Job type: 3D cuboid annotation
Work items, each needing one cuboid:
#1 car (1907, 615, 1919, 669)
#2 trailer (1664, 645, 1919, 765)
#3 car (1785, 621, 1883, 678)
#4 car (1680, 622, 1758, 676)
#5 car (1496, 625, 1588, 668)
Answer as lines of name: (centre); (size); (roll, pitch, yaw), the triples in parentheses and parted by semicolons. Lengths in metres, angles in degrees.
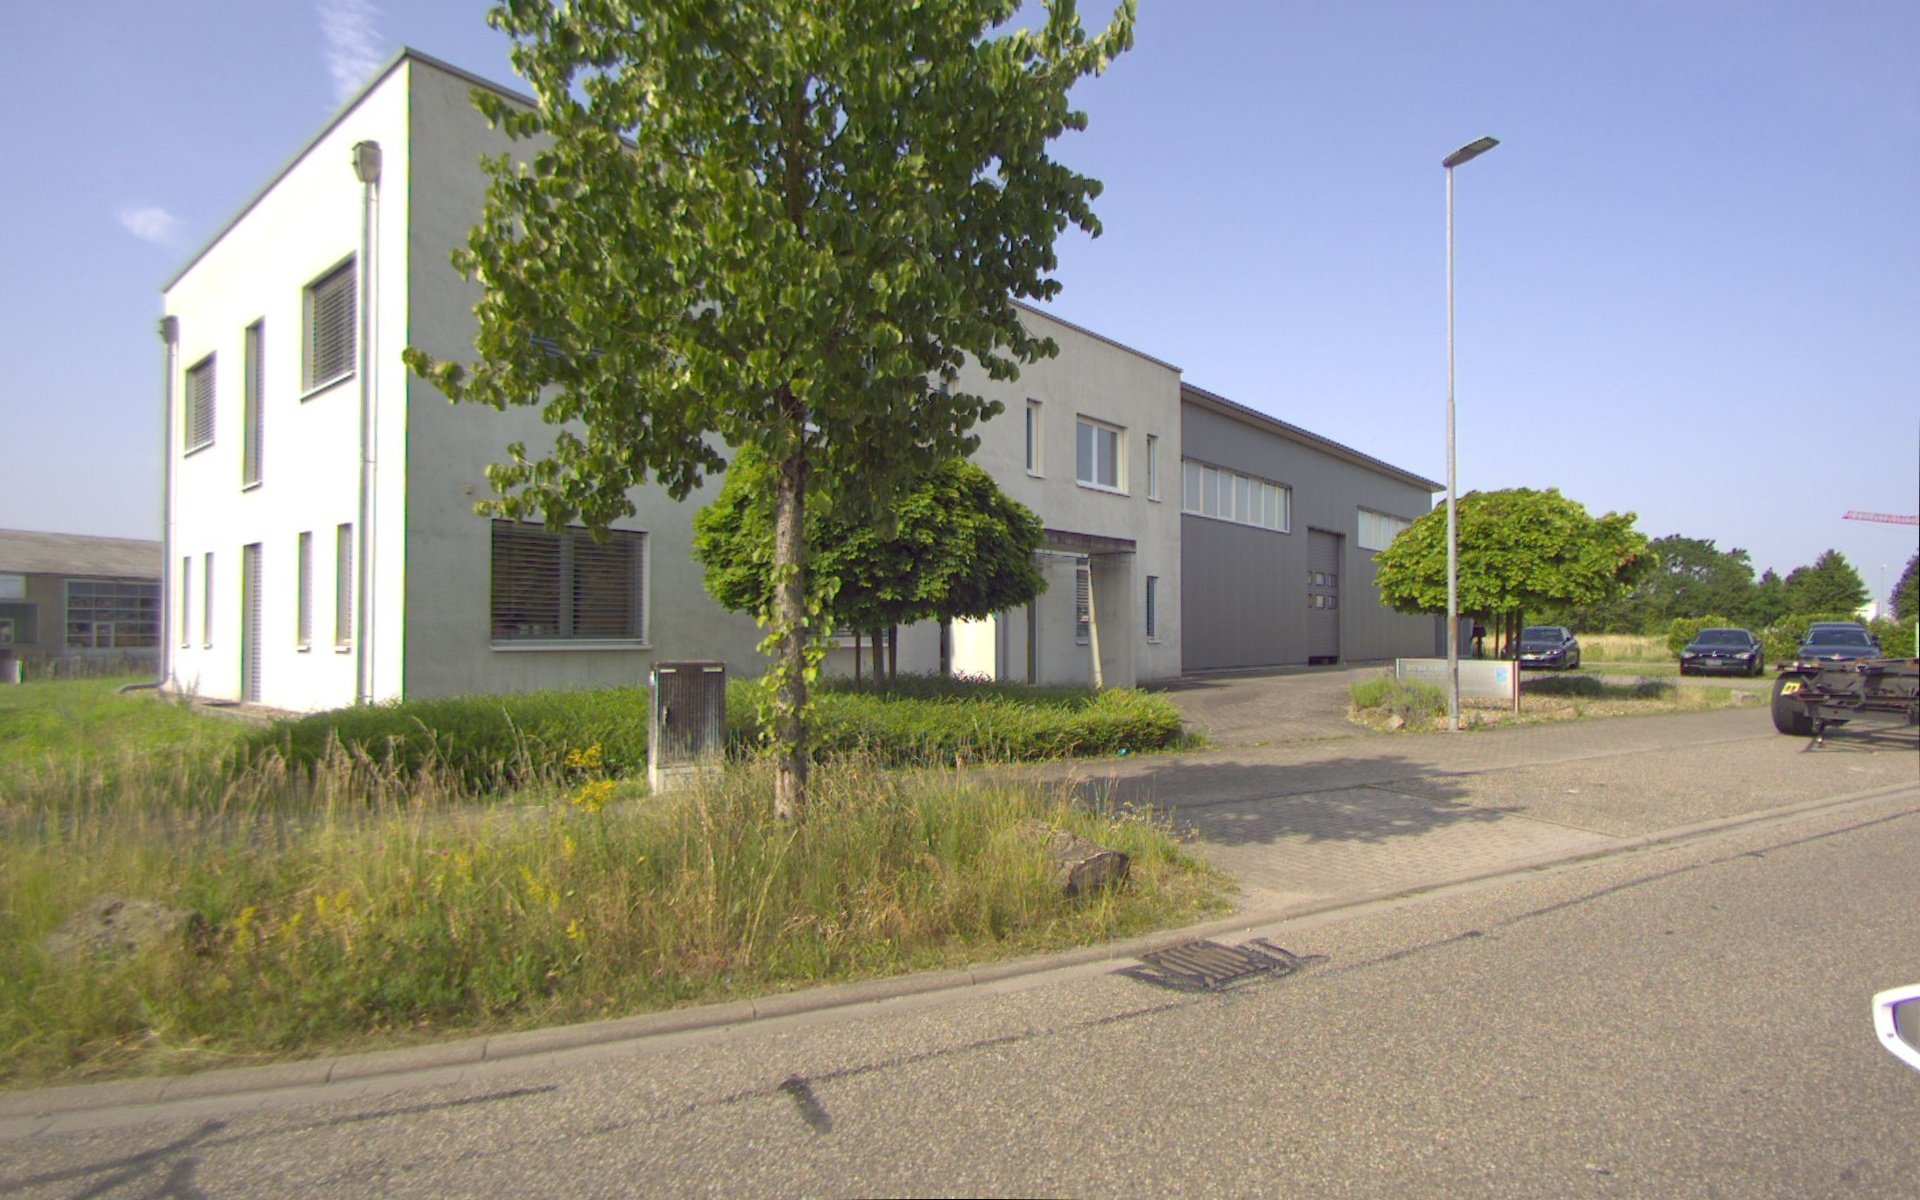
car: (29.881, 1.286, 30.316); (1.813, 1.593, 3.795); (1, 0, 43)
trailer: (13.677, 1.261, 14.103); (9.618, 1.088, 2.533); (1, 0, -31)
car: (24.758, 1.352, 28.450); (1.954, 1.496, 4.398); (-1, -2, 42)
car: (22.877, 1.423, 30.220); (1.659, 1.496, 4.330); (-1, -2, 40)
car: (19.579, 1.508, 33.718); (1.966, 1.342, 4.330); (-1, -2, 40)
